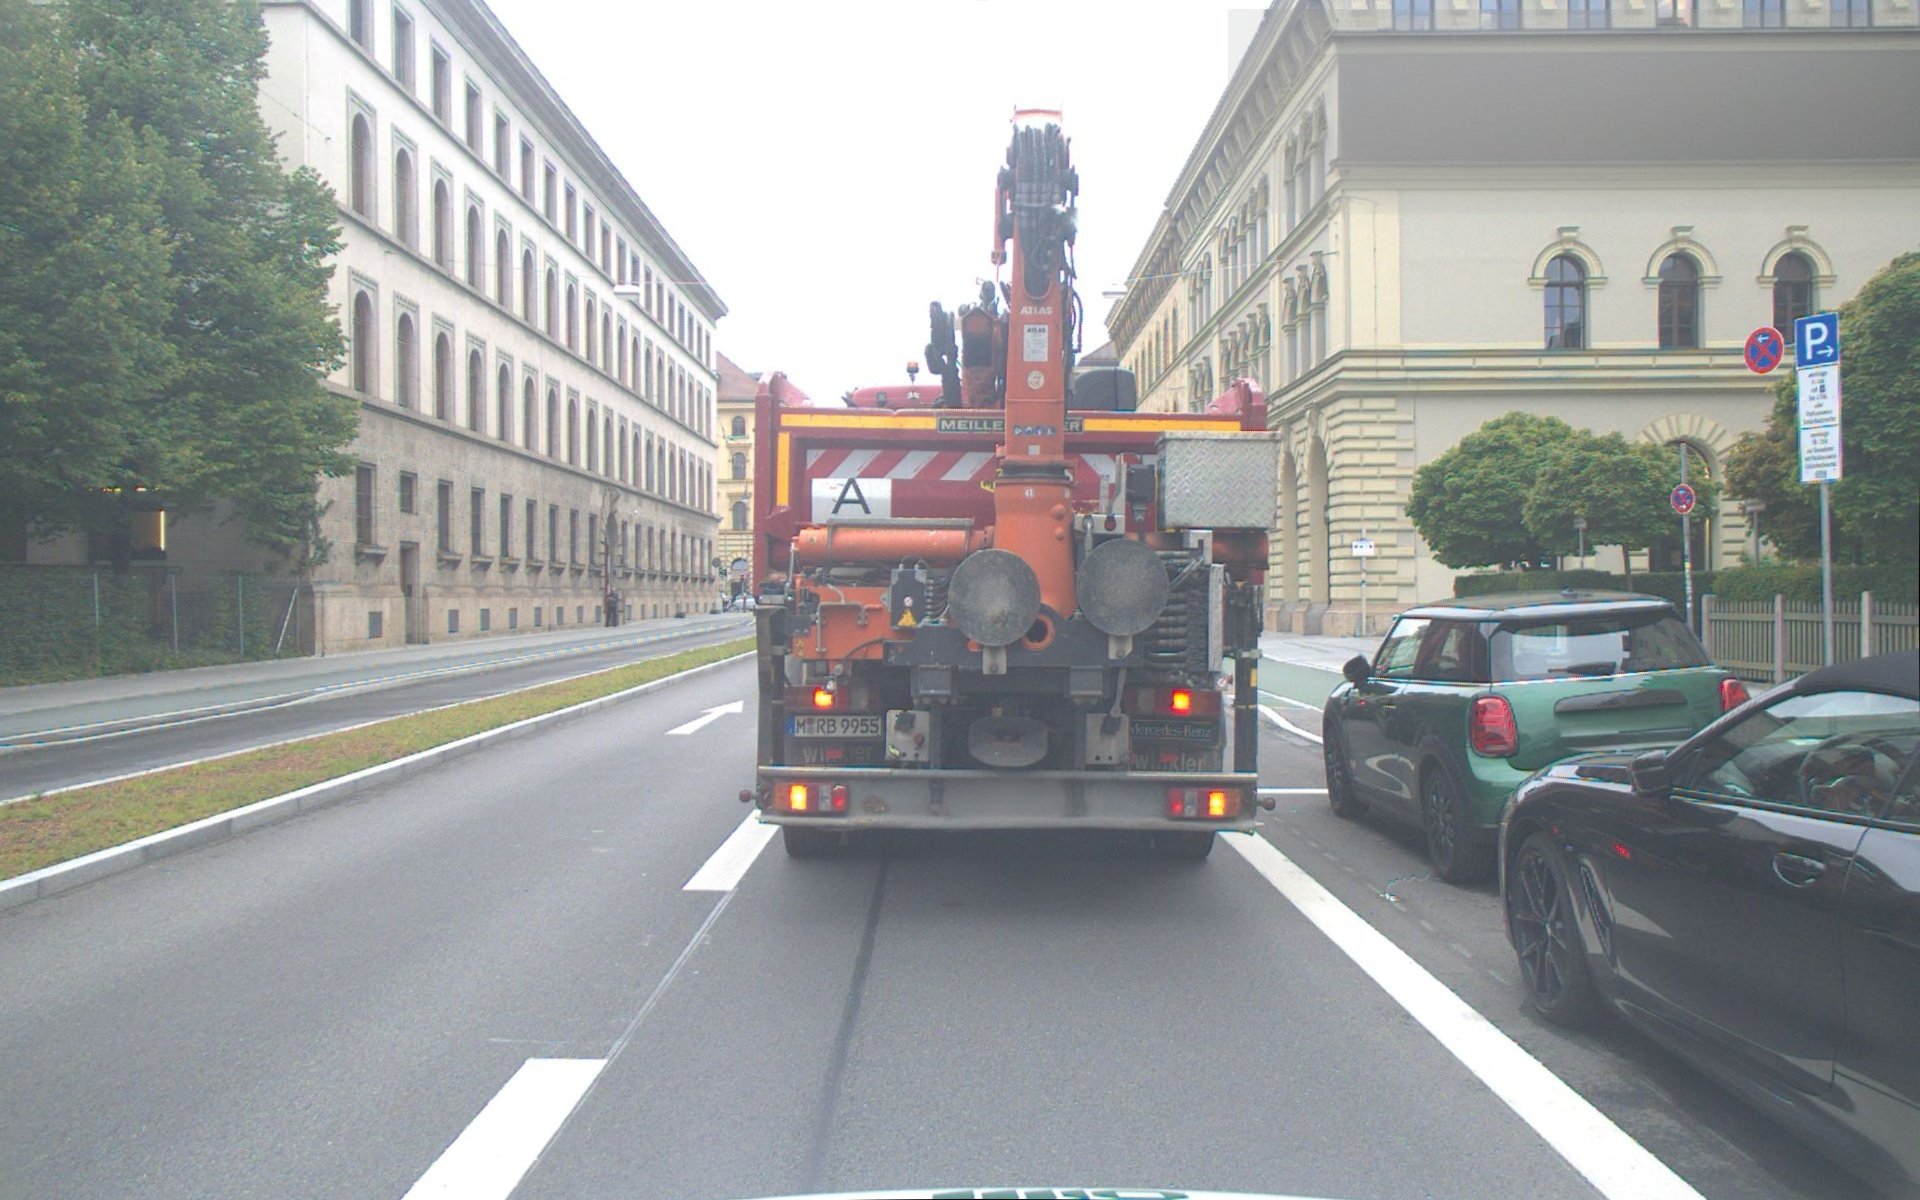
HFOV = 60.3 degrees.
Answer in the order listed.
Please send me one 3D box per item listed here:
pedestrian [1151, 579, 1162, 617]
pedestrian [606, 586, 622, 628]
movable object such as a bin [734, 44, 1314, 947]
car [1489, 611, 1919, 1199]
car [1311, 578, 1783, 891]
[{"bbox_3d":[9.680,-0.091,81.491,0.436,1.868,0.556,0,0,1],"label":"pedestrian"},{"bbox_3d":[-15.405,0.329,73.669,0.577,1.863,0.498,0,0,-2],"label":"pedestrian"},{"bbox_3d":[0.209,-0.448,9.688,2.374,3.674,5.850,0,0,-1],"label":"movable object such as a bin"},{"bbox_3d":[2.860,0.772,4.121,1.646,1.410,4.426,1,0,0],"label":"car"},{"bbox_3d":[3.259,0.649,9.870,1.577,1.521,3.424,-1,0,0],"label":"car"}]
